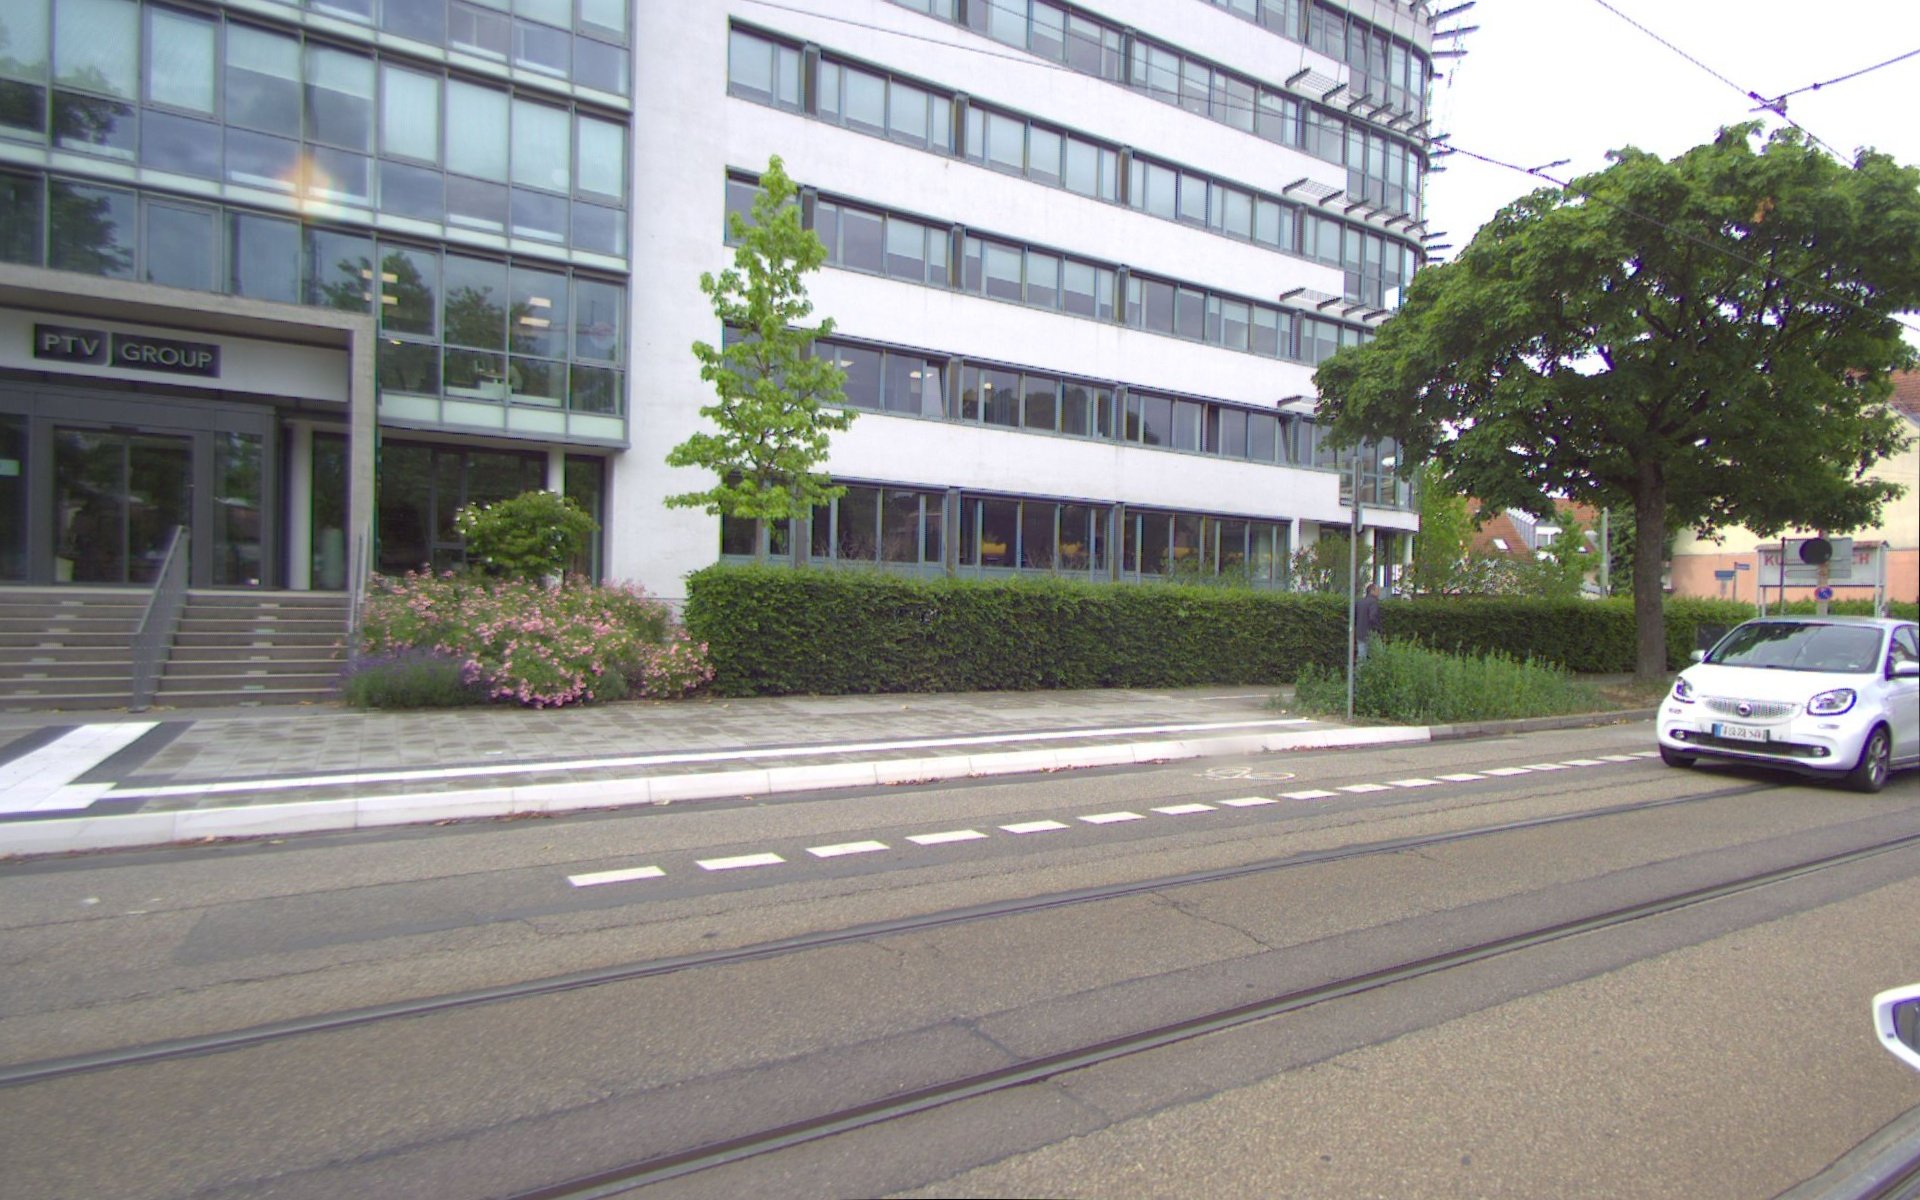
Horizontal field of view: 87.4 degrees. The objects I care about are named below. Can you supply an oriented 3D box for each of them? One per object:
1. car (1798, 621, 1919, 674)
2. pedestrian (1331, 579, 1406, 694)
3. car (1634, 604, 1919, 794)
[{"bbox_3d":[27.363,1.373,29.588,1.769,1.406,3.926,1,0,-9],"label":"car"},{"bbox_3d":[7.436,0.656,18.318,0.977,2.040,0.708,2,1,-23],"label":"pedestrian"},{"bbox_3d":[8.606,0.878,10.040,3.700,1.550,1.695,2,0,-32],"label":"car"}]
